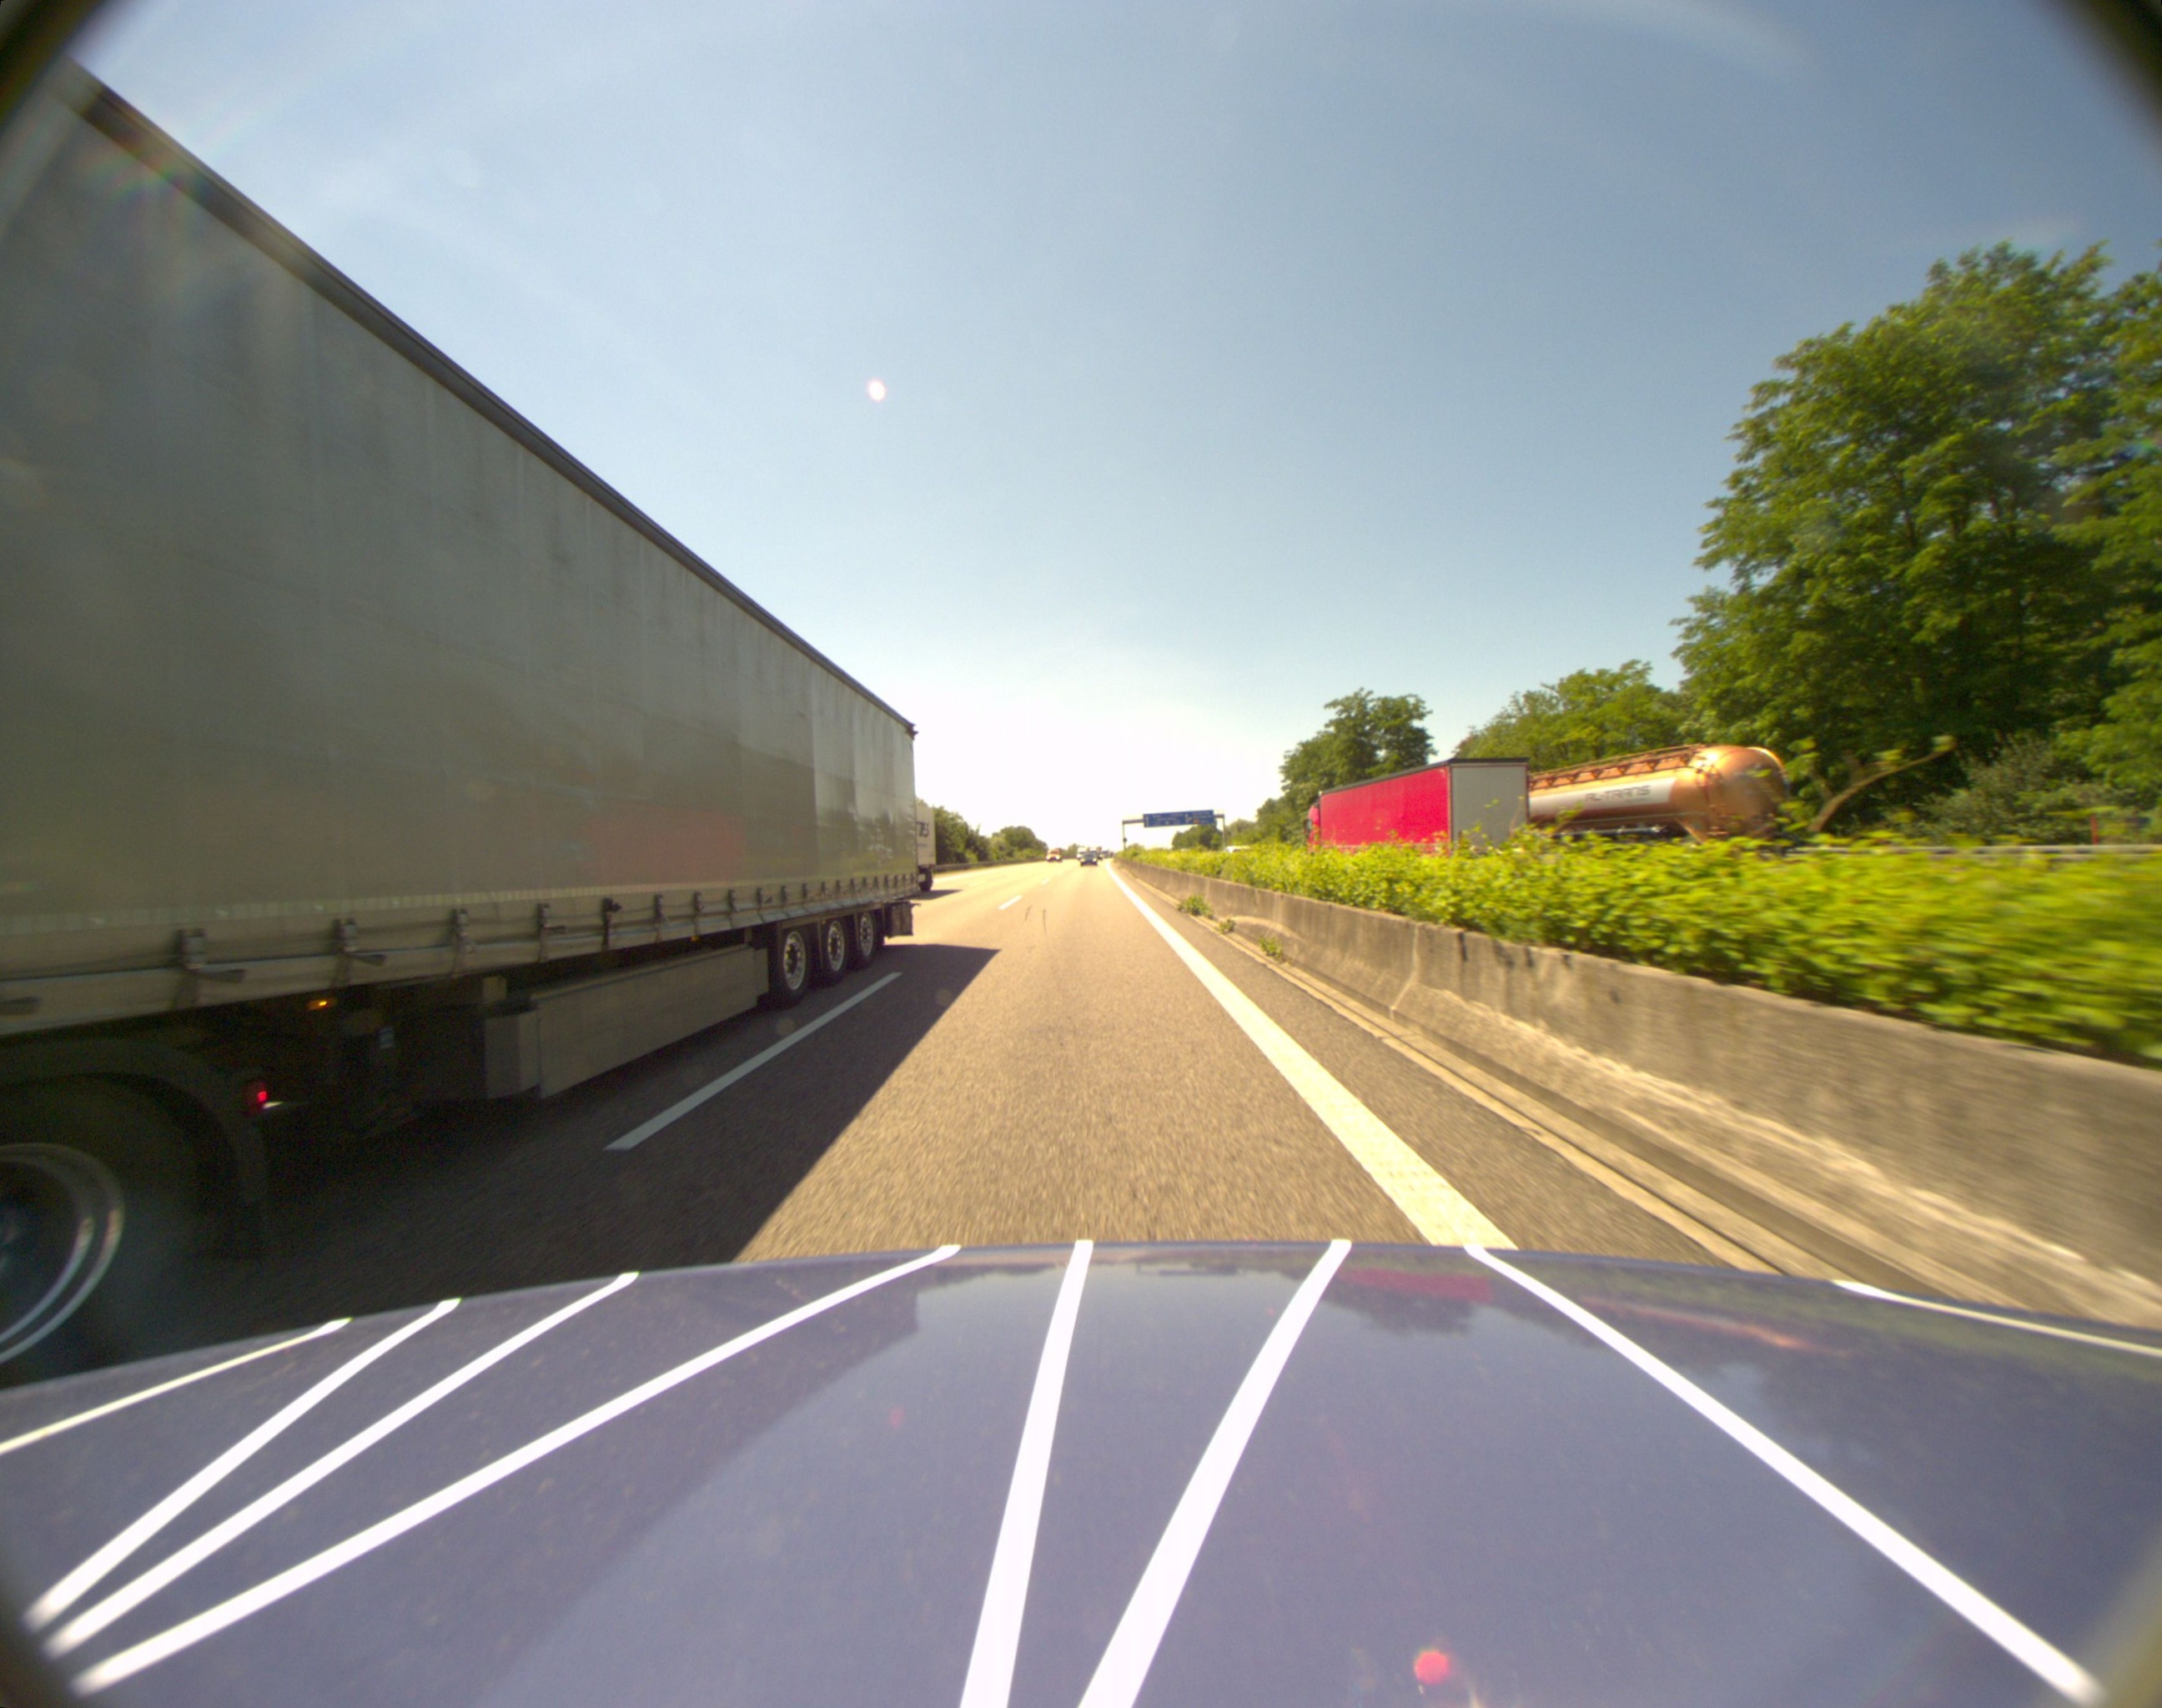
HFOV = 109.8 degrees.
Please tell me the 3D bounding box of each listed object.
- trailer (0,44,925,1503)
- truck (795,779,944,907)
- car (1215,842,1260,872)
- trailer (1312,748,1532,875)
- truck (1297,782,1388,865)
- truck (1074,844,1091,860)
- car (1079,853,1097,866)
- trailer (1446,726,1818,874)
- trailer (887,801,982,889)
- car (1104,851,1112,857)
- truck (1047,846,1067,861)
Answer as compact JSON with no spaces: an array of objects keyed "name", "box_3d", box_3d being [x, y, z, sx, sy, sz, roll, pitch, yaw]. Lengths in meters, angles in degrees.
[{"name":"trailer","box_3d":[-4.259,-0.251,6.621,2.747,3.952,13.652,-2,0,0]},{"name":"truck","box_3d":[-7.896,-0.401,30.278,2.532,4.106,10.669,-2,1,2]},{"name":"car","box_3d":[9.043,0.169,44.132,1.699,1.592,3.999,-2,1,0]},{"name":"trailer","box_3d":[12.894,-1.379,31.055,2.472,3.913,14.398,-2,0,0]},{"name":"truck","box_3d":[12.912,-1.426,38.020,2.471,3.766,5.728,-2,1,0]},{"name":"truck","box_3d":[0.345,-0.426,165.603,2.858,3.163,10.714,-2,0,4]},{"name":"car","box_3d":[0.841,0.608,85.391,1.800,1.390,4.834,-2,0,3]},{"name":"trailer","box_3d":[17.007,-1.385,25.840,2.377,3.575,14.219,-2,0,0]},{"name":"trailer","box_3d":[-7.597,-0.460,41.252,2.561,4.036,11.263,-2,1,2]},{"name":"car","box_3d":[7.486,0.075,210.530,1.879,1.630,4.000,-2,0,0]},{"name":"truck","box_3d":[-4.246,-0.127,136.305,2.436,2.426,10.011,-2,0,3]}]
